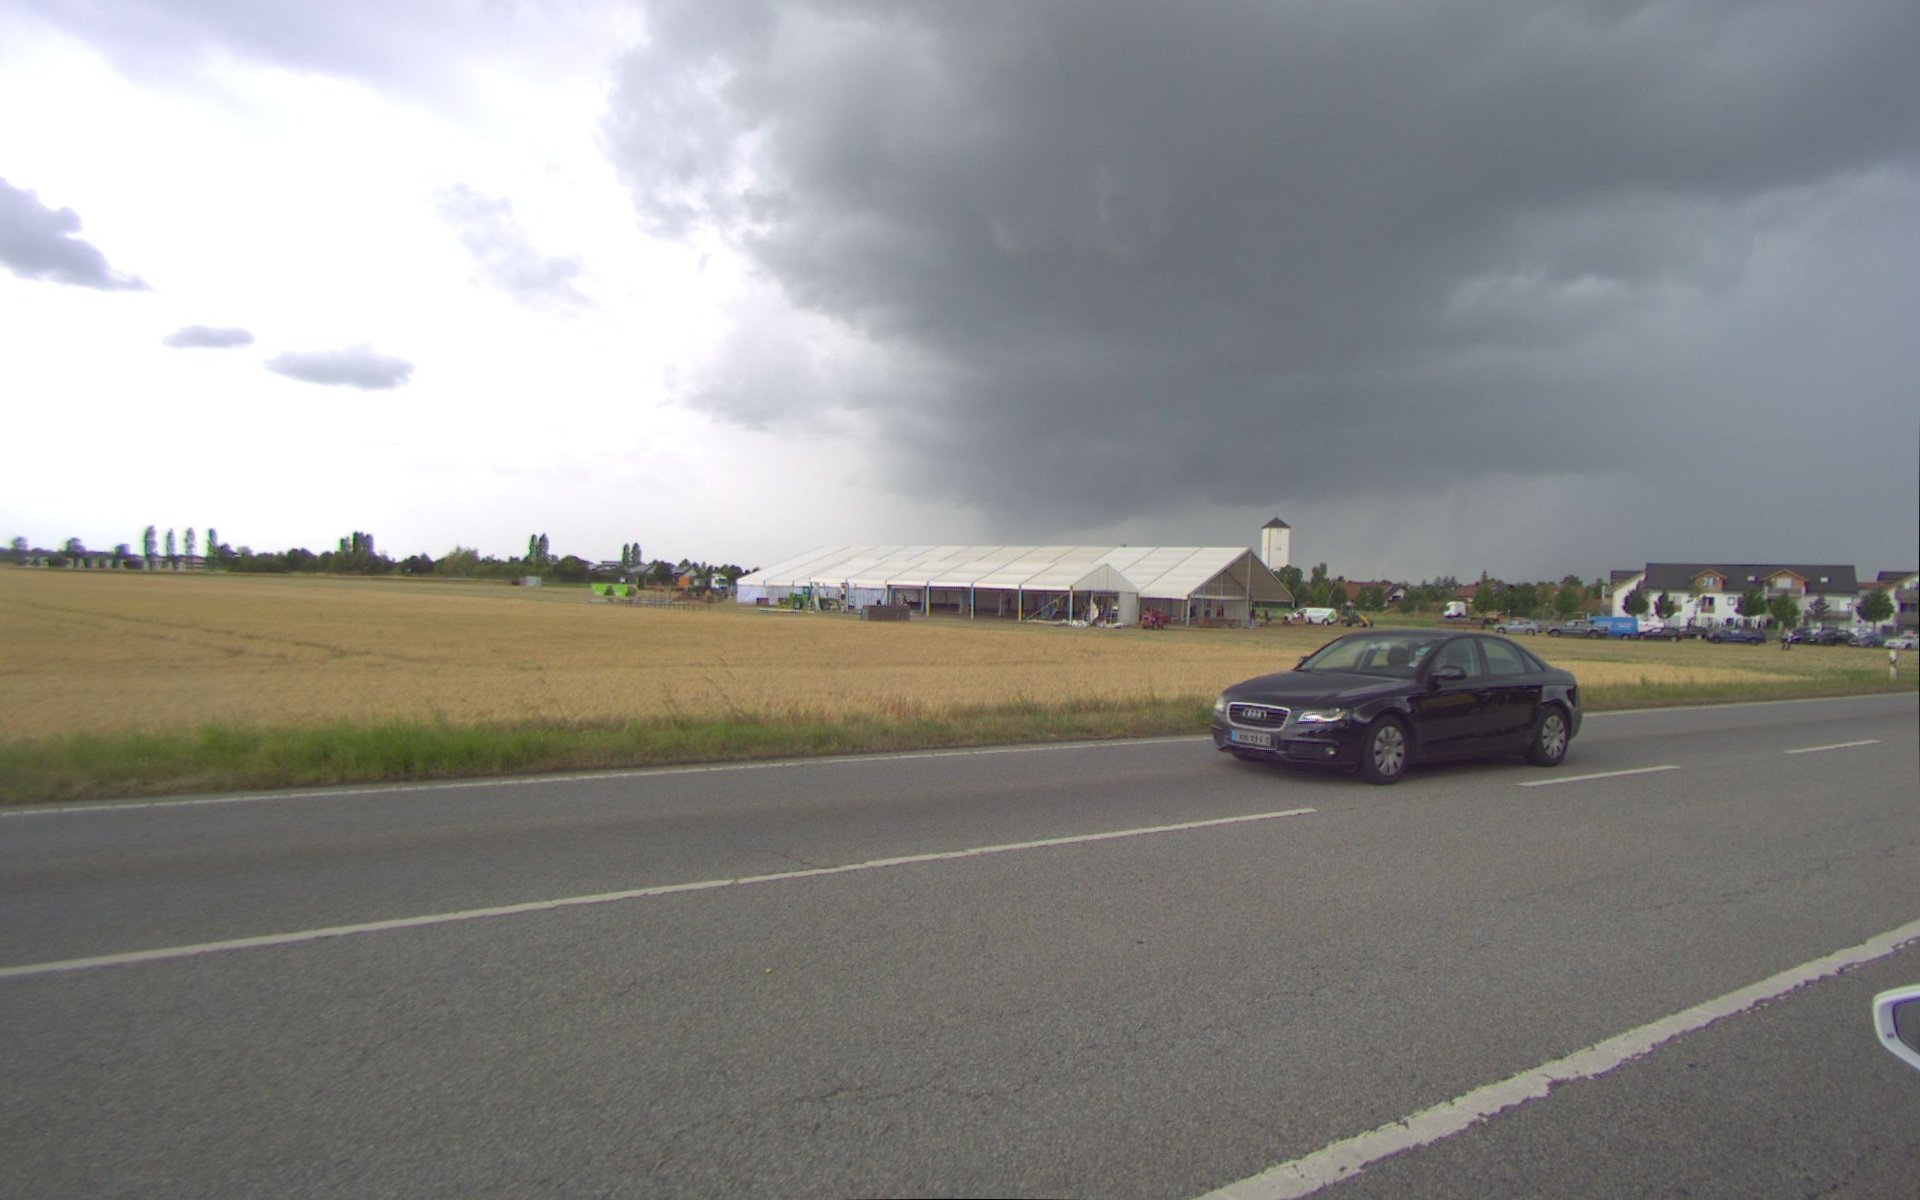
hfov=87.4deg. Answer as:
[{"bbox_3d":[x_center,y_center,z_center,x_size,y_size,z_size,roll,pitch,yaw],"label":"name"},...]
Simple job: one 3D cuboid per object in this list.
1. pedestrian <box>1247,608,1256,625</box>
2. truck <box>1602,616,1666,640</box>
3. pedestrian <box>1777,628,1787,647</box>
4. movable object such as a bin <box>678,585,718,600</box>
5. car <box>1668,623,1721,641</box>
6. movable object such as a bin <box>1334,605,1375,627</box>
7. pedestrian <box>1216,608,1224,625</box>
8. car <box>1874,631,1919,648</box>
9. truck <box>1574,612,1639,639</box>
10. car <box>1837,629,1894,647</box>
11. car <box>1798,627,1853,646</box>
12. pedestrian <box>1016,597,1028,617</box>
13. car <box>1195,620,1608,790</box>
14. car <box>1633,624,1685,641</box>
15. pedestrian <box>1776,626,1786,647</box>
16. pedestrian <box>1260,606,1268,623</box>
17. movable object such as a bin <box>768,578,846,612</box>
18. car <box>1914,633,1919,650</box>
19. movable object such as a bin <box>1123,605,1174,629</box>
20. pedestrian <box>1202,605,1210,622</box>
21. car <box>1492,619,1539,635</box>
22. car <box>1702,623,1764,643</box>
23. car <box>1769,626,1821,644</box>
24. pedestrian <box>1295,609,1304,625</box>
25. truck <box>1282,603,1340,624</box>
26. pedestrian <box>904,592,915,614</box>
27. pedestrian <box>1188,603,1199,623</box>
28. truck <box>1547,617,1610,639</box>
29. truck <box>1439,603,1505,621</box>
[{"bbox_3d":[30.767,1.744,106.083,0.679,1.799,0.692,2,0,35],"label":"pedestrian"},{"bbox_3d":[70.731,2.928,105.414,5.490,2.226,2.599,2,0,35],"label":"truck"},{"bbox_3d":[69.426,3.196,84.805,0.582,1.576,0.623,2,0,39],"label":"pedestrian"},{"bbox_3d":[-39.083,-1.141,150.047,2.527,2.040,5.390,2,0,39],"label":"movable object such as a bin"},{"bbox_3d":[80.793,3.474,110.508,4.567,1.719,1.992,2,0,38],"label":"car"},{"bbox_3d":[44.001,1.772,112.011,3.926,2.273,1.882,2,0,30],"label":"movable object such as a bin"},{"bbox_3d":[27.488,1.752,106.112,0.642,1.767,0.728,2,0,7],"label":"pedestrian"},{"bbox_3d":[86.322,3.634,91.964,4.140,1.465,1.994,2,0,-14],"label":"car"},{"bbox_3d":[64.828,2.523,100.791,5.375,2.478,2.386,2,0,35],"label":"truck"},{"bbox_3d":[85.227,3.605,94.531,4.140,1.556,1.994,2,0,-14],"label":"car"},{"bbox_3d":[83.964,3.514,97.459,4.140,1.650,1.994,2,0,-14],"label":"car"},{"bbox_3d":[6.716,0.725,108.292,0.930,2.130,0.860,2,0,-32],"label":"pedestrian"},{"bbox_3d":[4.718,0.976,10.561,4.374,1.429,1.817,2,-1,-31],"label":"car"},{"bbox_3d":[70.188,3.247,100.879,4.103,1.539,1.992,2,0,38],"label":"car"},{"bbox_3d":[68.767,3.055,84.164,0.673,1.809,0.543,2,0,-44],"label":"pedestrian"},{"bbox_3d":[33.397,1.621,110.219,0.616,1.890,0.706,2,0,36],"label":"pedestrian"},{"bbox_3d":[-16.130,-0.511,105.745,7.461,3.219,4.142,3,1,37],"label":"movable object such as a bin"},{"bbox_3d":[87.493,3.752,89.289,4.140,1.465,1.994,2,0,-14],"label":"car"},{"bbox_3d":[15.545,1.424,82.782,2.554,1.889,4.460,2,0,34],"label":"movable object such as a bin"},{"bbox_3d":[26.080,1.410,106.534,0.717,1.803,0.760,2,0,3],"label":"pedestrian"},{"bbox_3d":[58.452,2.831,105.670,4.233,1.481,1.887,2,0,32],"label":"car"},{"bbox_3d":[74.928,3.202,97.417,4.656,1.719,1.992,2,0,38],"label":"car"},{"bbox_3d":[84.115,3.534,101.213,4.140,1.650,1.994,2,0,-14],"label":"car"},{"bbox_3d":[37.606,1.904,111.313,0.680,1.799,0.691,2,0,42],"label":"pedestrian"},{"bbox_3d":[41.229,1.632,118.007,5.957,2.246,2.715,2,0,31],"label":"truck"},{"bbox_3d":[-4.801,0.290,95.217,1.005,2.040,0.806,2,0,-3],"label":"pedestrian"},{"bbox_3d":[24.332,1.329,104.807,0.863,2.040,0.765,2,0,36],"label":"pedestrian"},{"bbox_3d":[60.992,2.728,99.121,5.152,1.946,2.107,2,0,32],"label":"truck"},{"bbox_3d":[81.993,1.941,161.095,3.256,2.563,9.314,2,0,-26],"label":"truck"}]
